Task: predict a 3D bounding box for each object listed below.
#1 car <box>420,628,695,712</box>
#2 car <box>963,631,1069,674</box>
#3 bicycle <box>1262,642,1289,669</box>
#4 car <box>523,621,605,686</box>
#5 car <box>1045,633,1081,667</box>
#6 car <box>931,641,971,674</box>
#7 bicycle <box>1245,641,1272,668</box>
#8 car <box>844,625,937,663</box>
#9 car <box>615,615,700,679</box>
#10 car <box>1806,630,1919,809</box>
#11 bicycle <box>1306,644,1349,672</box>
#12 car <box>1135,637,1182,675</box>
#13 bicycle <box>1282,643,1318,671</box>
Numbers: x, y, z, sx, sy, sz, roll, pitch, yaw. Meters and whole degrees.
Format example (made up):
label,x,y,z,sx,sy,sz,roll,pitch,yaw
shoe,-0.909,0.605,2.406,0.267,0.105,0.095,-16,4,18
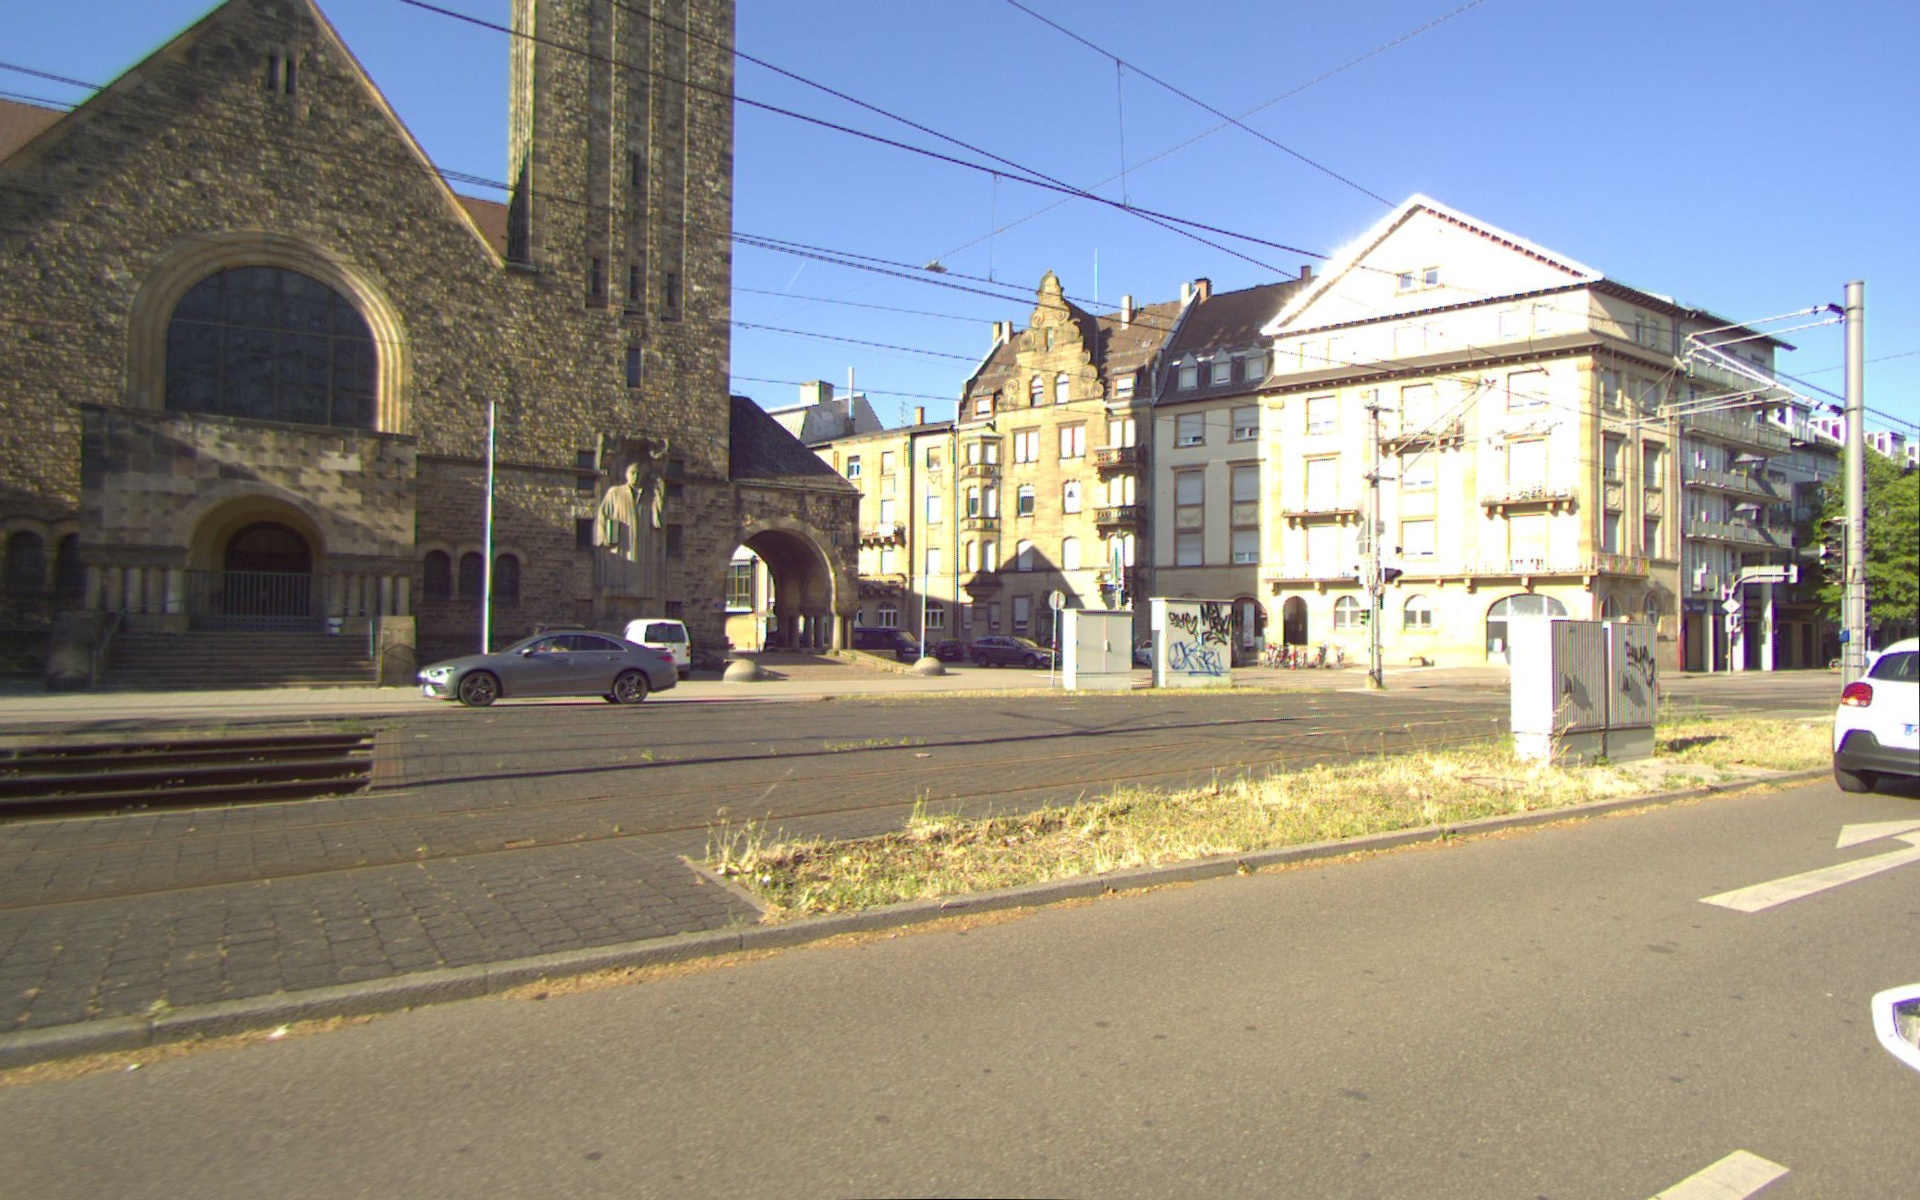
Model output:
label,x,y,z,sx,sy,sz,roll,pitch,yaw
car,-7.860,1.316,19.735,4.784,1.468,1.984,2,-2,-30
car,2.728,2.528,49.524,4.854,1.776,1.995,2,0,33
bicycle,16.397,2.859,52.113,0.809,1.300,2.560,2,0,29
car,-11.921,1.548,30.113,1.871,1.651,3.971,1,0,-28
car,6.083,2.942,59.821,1.960,1.776,4.600,2,0,4
car,-0.633,3.646,64.242,1.963,1.776,4.592,2,0,-8
bicycle,15.618,2.835,52.559,0.809,1.300,2.560,2,0,29
car,-3.796,2.324,54.250,4.689,1.776,2.148,2,0,35
car,-9.682,1.436,31.967,1.871,1.780,3.971,1,0,-28
car,9.706,1.061,9.368,3.603,1.481,1.736,1,0,-32
bicycle,18.585,2.927,50.797,2.543,1.300,0.815,1,0,-39
car,11.010,3.096,56.041,1.960,1.776,4.600,2,0,4
bicycle,17.333,2.889,51.130,0.812,1.300,2.552,2,0,40
